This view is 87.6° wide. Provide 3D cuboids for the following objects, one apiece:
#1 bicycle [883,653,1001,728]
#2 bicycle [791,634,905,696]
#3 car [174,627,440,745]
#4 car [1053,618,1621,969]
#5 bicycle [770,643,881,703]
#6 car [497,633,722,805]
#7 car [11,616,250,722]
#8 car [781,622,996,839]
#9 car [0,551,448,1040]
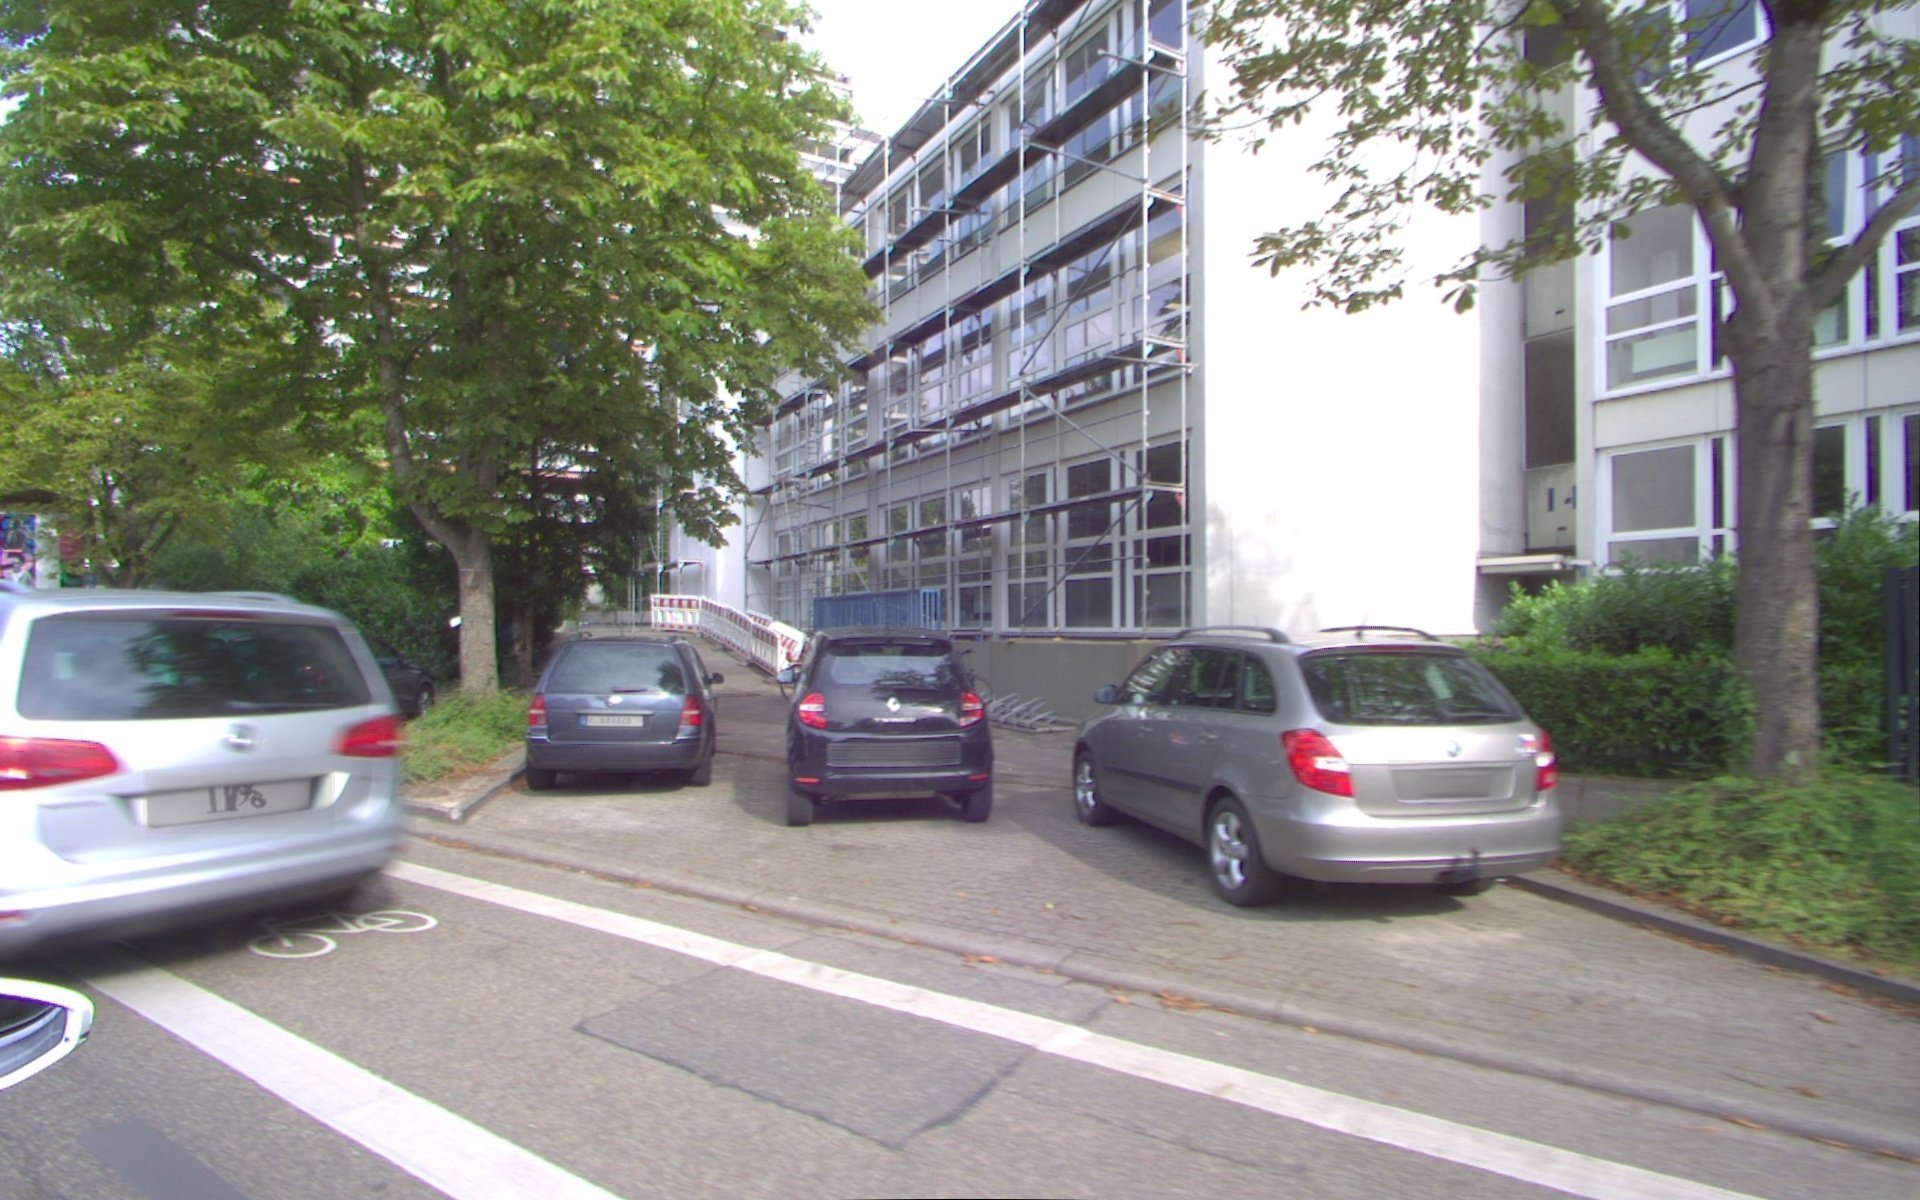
[{"bbox_3d":[-0.266,1.367,15.412,1.813,1.057,0.451,0,0,-28],"label":"bicycle"},{"bbox_3d":[-1.973,1.135,17.792,1.949,1.057,0.592,1,-1,-29],"label":"bicycle"},{"bbox_3d":[-9.005,1.112,14.192,1.650,1.437,3.647,0,-2,-6],"label":"car"},{"bbox_3d":[1.972,0.932,6.603,1.566,1.557,4.050,0,-2,-12],"label":"car"},{"bbox_3d":[-2.485,1.337,18.531,1.944,1.057,0.593,1,-1,-20],"label":"bicycle"},{"bbox_3d":[-3.475,1.076,10.648,1.783,1.433,4.167,0,-2,-13],"label":"car"},{"bbox_3d":[-14.161,1.122,17.374,1.651,1.623,3.644,0,-2,-12],"label":"car"},{"bbox_3d":[-0.791,0.994,9.015,1.566,1.557,3.416,0,-1,-10],"label":"car"},{"bbox_3d":[-4.992,0.734,5.327,4.546,1.723,1.811,-1,-1,29],"label":"car"}]
